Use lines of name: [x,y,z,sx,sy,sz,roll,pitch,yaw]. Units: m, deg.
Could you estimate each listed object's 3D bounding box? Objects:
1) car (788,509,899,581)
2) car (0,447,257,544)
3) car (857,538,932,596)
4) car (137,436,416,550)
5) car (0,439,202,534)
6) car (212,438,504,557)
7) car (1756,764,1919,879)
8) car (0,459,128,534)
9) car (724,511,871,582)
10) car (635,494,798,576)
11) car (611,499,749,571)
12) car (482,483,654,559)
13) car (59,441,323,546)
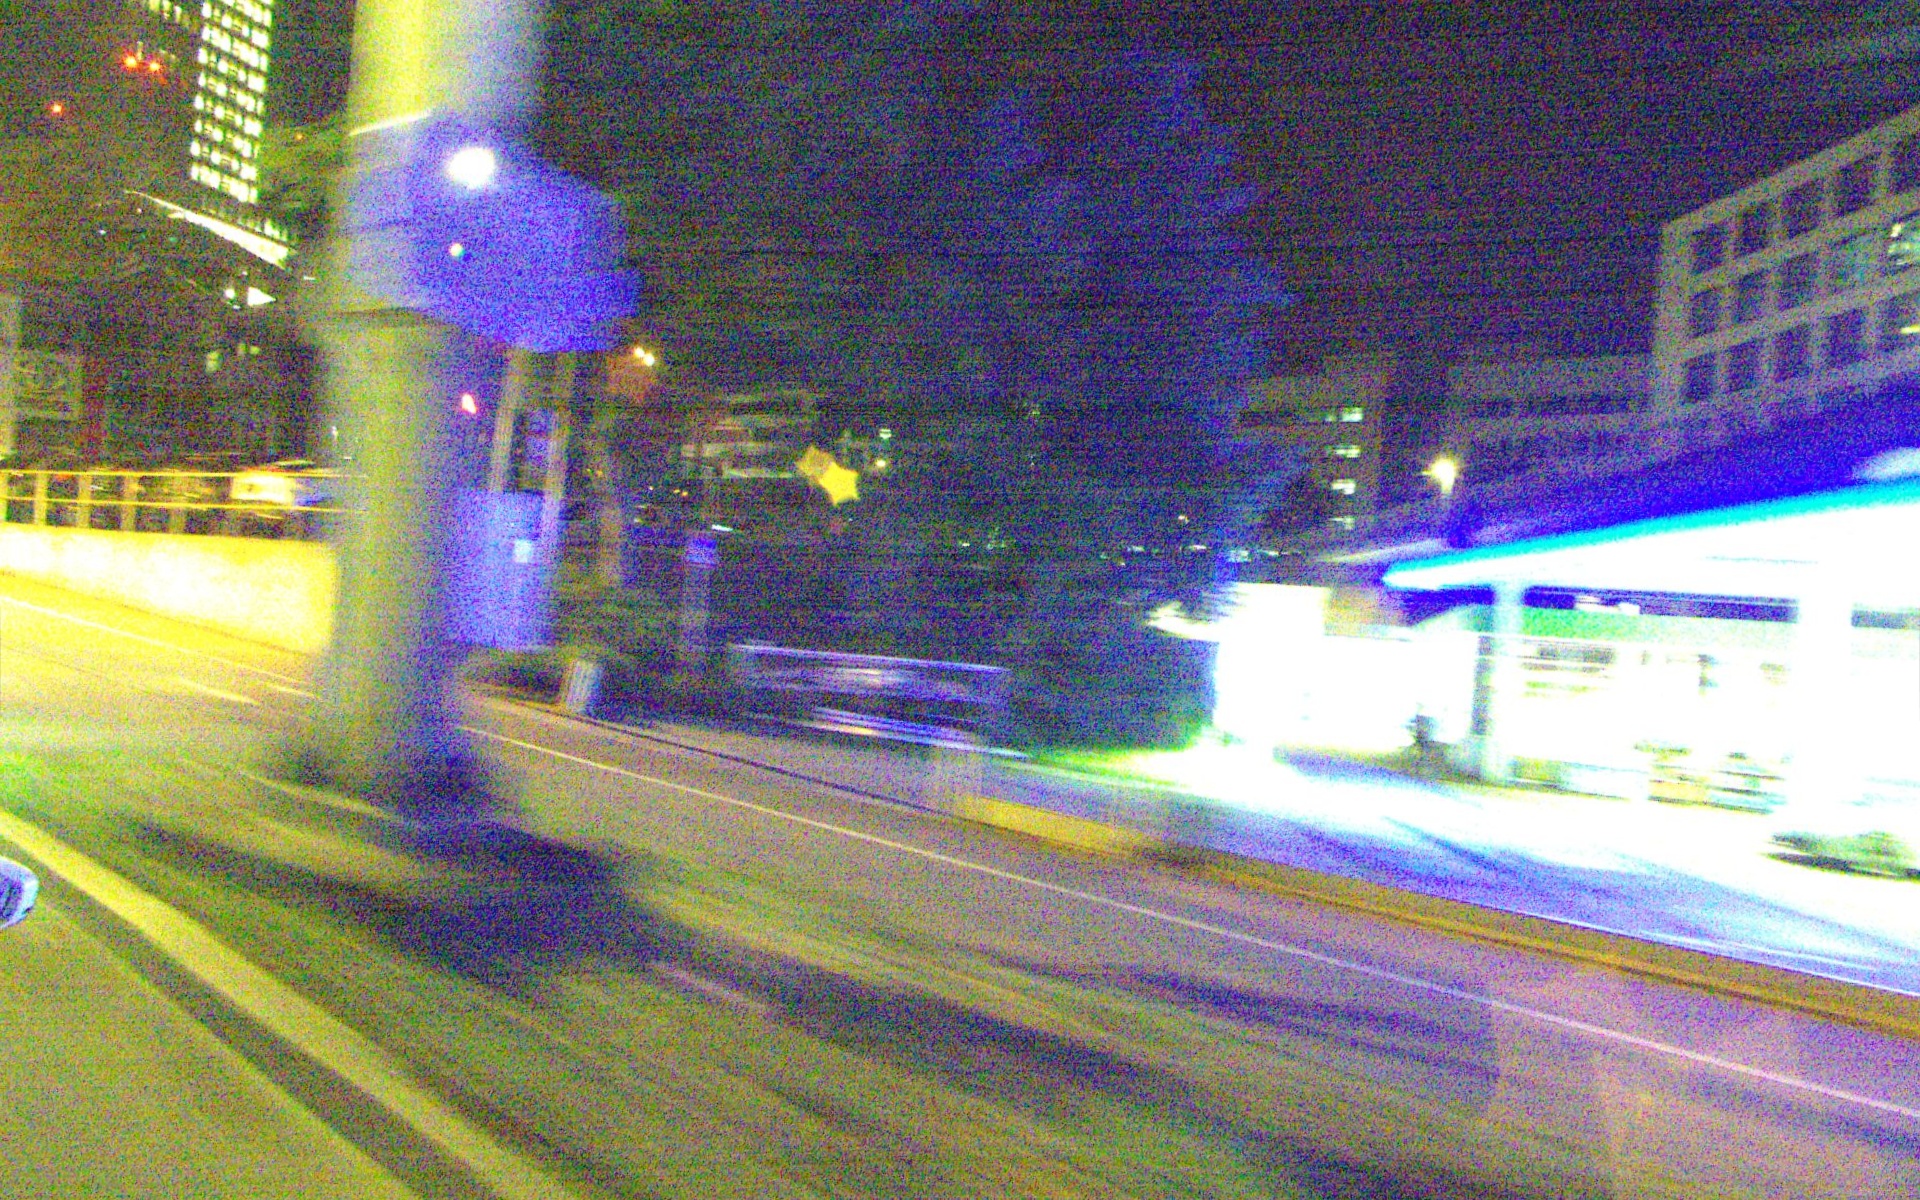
car: [-3.638,-1.701,32.144,1.721,1.920,3.817,5,1,24]
car: [-17.248,-2.120,21.059,1.711,1.508,3.732,5,0,25]
car: [-2.759,-1.303,40.865,2.153,1.995,5.226,5,0,-12]
car: [-12.744,-1.944,19.026,1.709,1.591,3.992,5,0,28]
car: [-19.308,-2.470,22.306,1.695,1.590,3.569,5,1,23]
car: [-10.648,-1.749,18.116,1.791,1.541,4.125,4,0,28]
car: [15.052,3.555,15.466,3.994,1.374,1.659,5,-2,21]
car: [-22.420,-2.480,24.227,1.708,1.509,3.839,3,1,-3]
car: [-3.953,-1.280,24.973,1.610,1.490,3.641,5,2,30]
car: [-6.249,-1.646,26.211,1.807,1.754,3.989,5,1,30]
car: [-9.429,-2.154,34.330,1.964,1.934,4.586,5,0,24]
car: [-10.906,-2.168,28.297,1.721,1.748,4.361,5,2,29]
car: [-15.063,-2.041,19.935,1.749,1.608,3.752,4,1,25]
